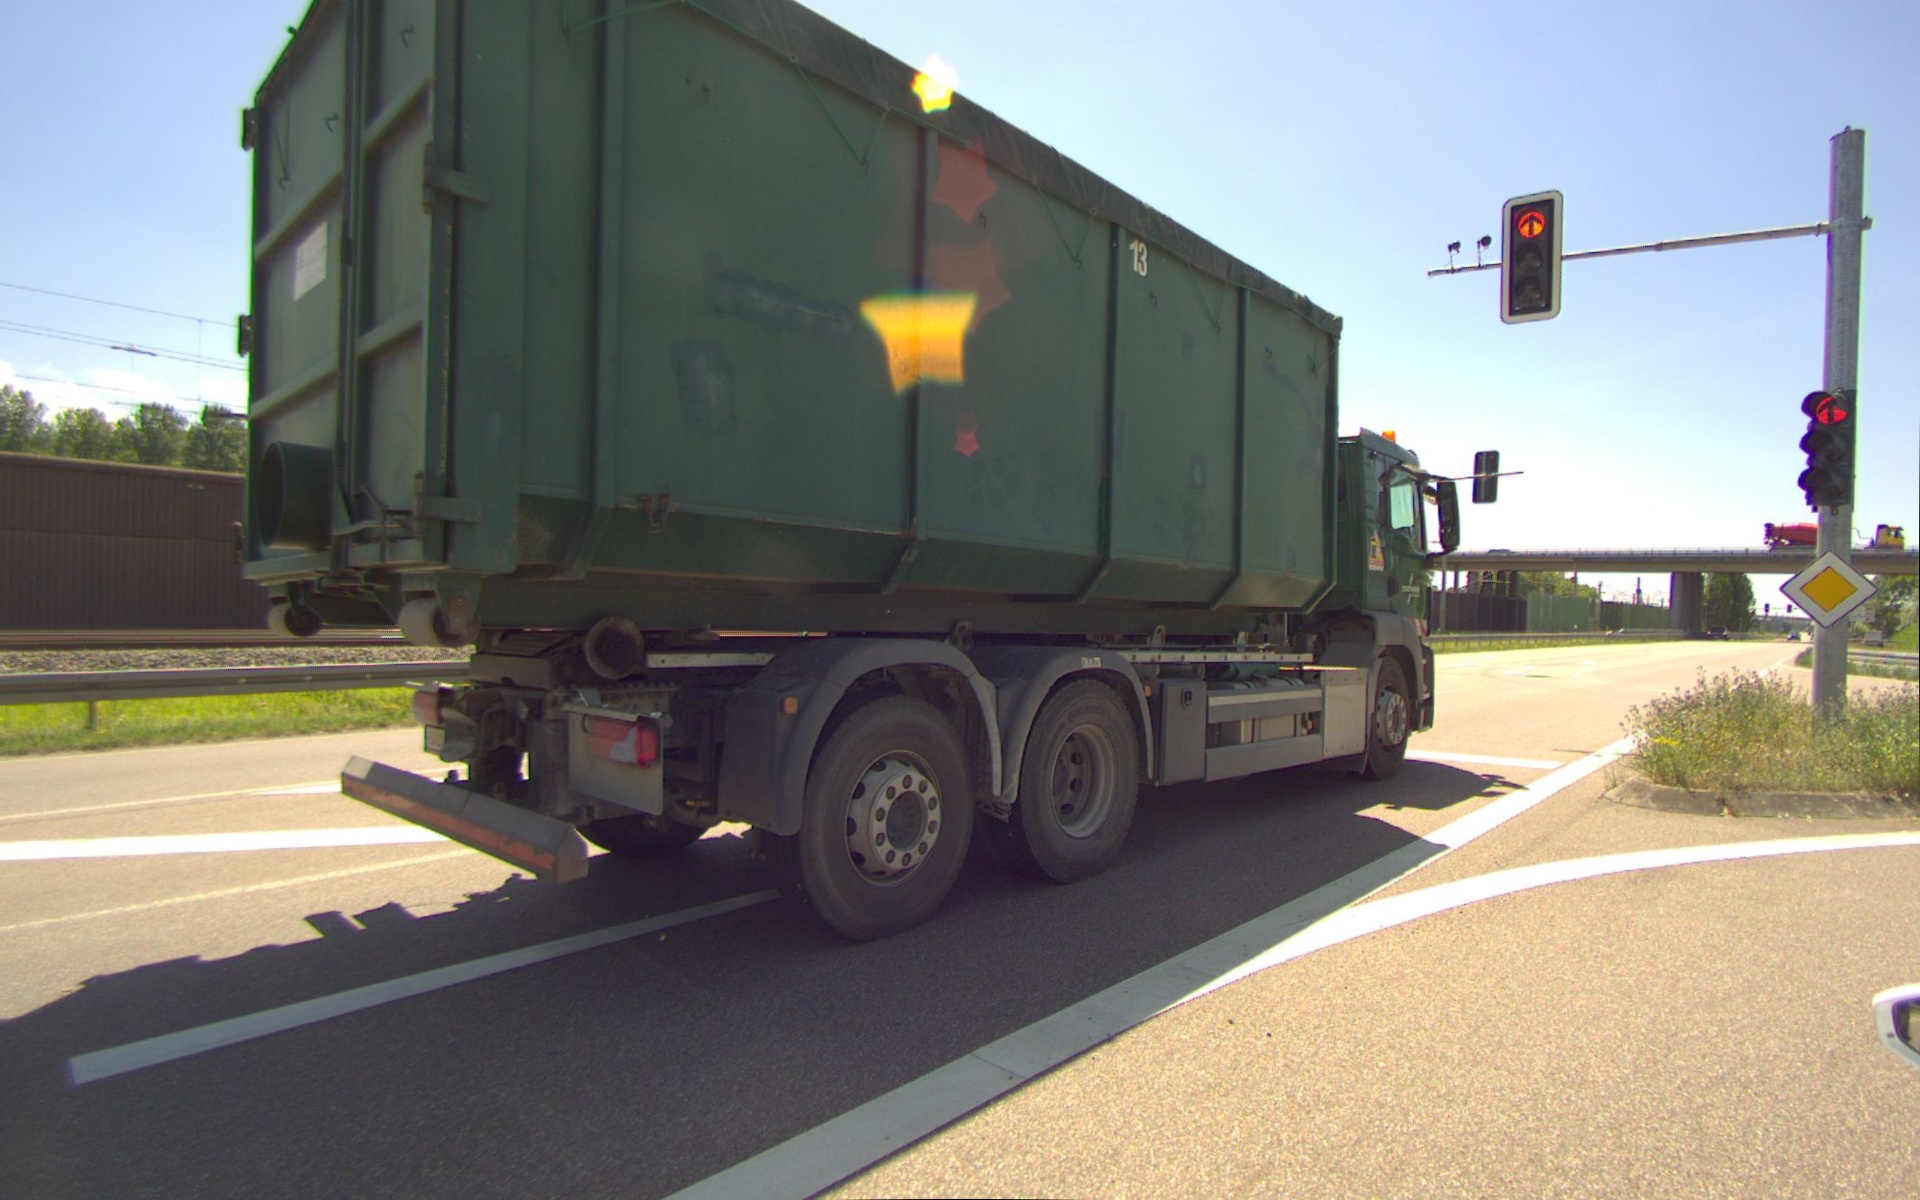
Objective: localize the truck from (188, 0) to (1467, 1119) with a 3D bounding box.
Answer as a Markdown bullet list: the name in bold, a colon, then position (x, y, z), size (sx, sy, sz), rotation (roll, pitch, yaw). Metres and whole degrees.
- **truck**: position (0.698, -0.416, 7.117), size (2.562, 3.787, 9.518), rotation (0, 0, 43)

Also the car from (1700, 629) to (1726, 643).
- **car**: position (82.711, 3.936, 110.297), size (1.971, 1.416, 4.383), rotation (0, -1, 42)

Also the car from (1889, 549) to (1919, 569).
- **car**: position (103.732, -4.448, 109.157), size (4.132, 2.040, 1.988), rotation (0, -1, 44)

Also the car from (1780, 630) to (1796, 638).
- **car**: position (147.695, 5.998, 179.123), size (1.971, 1.416, 4.383), rotation (0, -1, 42)

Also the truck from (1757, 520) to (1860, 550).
- **truck**: position (90.913, -6.905, 107.757), size (8.405, 2.710, 1.988), rotation (0, -1, 44)

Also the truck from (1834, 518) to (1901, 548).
- **truck**: position (94.197, -6.918, 104.302), size (1.986, 2.710, 5.043), rotation (1, -1, -43)
